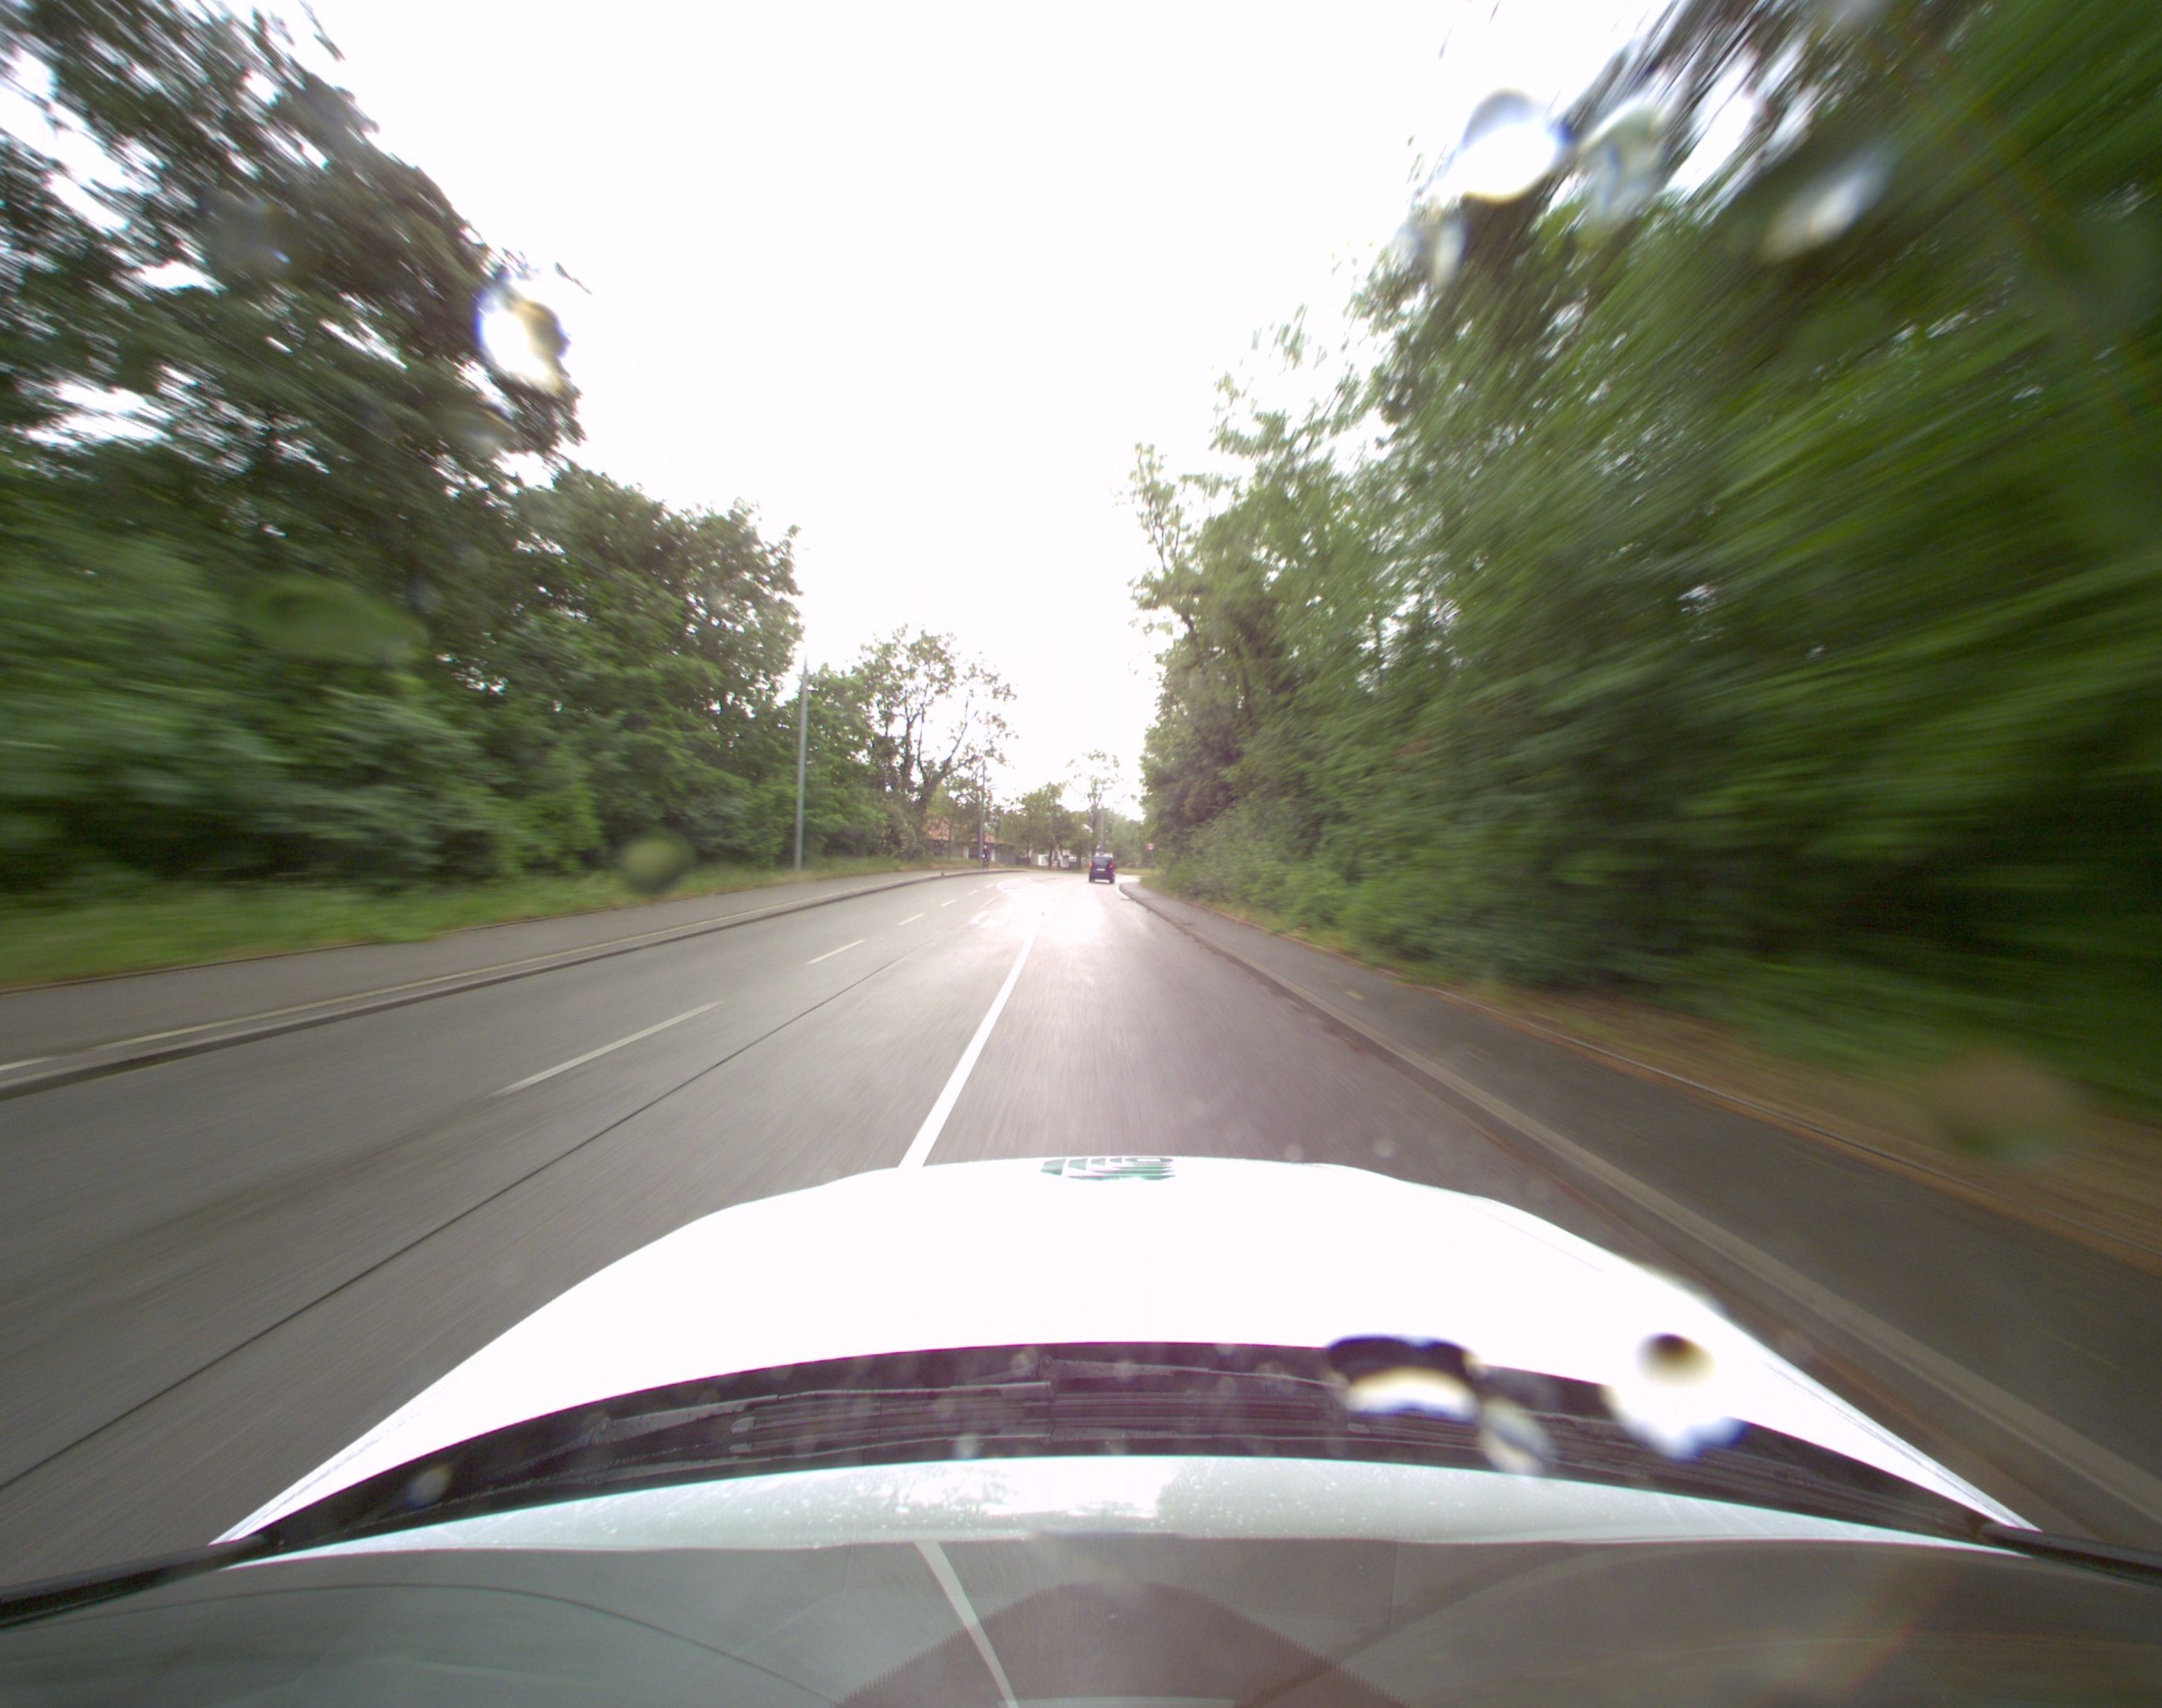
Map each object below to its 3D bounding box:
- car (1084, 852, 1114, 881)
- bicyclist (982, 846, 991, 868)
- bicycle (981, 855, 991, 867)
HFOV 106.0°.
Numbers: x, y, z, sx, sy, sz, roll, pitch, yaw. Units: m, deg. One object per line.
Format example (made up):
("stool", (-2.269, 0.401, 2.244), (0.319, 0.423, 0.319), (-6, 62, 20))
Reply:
("car", (1.214, 0.908, 56.724), (1.822, 1.794, 3.996), (-1, -3, -1))
("bicyclist", (-6.850, 0.249, 59.087), (0.334, 1.574, 1.299), (2, -1, 3))
("bicycle", (-6.854, 0.488, 59.093), (0.354, 0.849, 2.095), (2, 0, 3))
